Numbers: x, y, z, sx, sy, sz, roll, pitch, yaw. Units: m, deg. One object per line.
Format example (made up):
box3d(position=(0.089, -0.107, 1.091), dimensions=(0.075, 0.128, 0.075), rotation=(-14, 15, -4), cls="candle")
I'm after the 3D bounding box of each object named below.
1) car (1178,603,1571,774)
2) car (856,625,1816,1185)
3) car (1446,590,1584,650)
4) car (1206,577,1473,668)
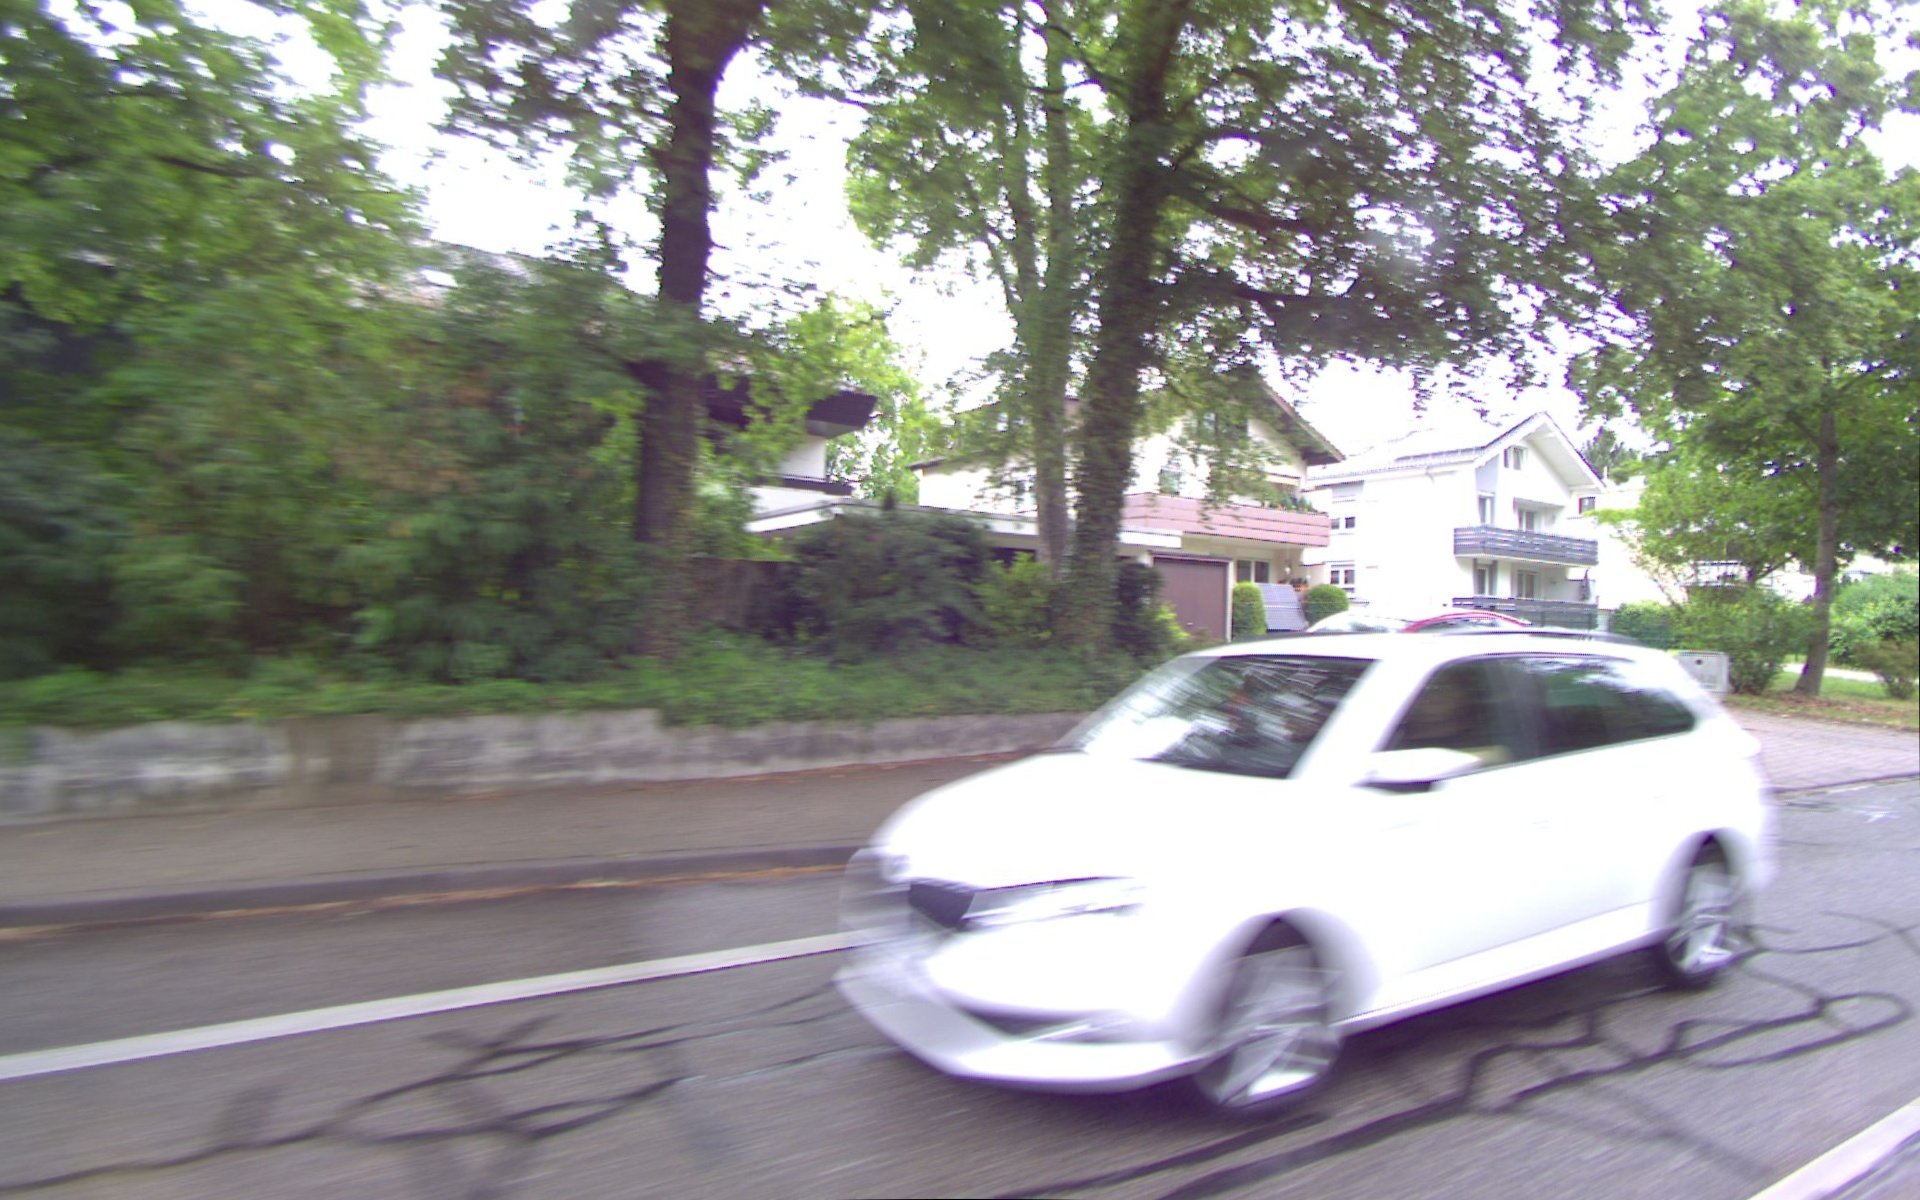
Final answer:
box3d(position=(4.663, 0.848, 11.310), dimensions=(3.948, 1.536, 1.986), rotation=(0, 2, -27), cls="car")
box3d(position=(1.701, 0.853, 4.303), dimensions=(3.959, 1.429, 1.694), rotation=(1, -3, -29), cls="car")
box3d(position=(20.146, 0.754, 36.624), dimensions=(1.979, 2.040, 3.964), rotation=(1, -2, -33), cls="car")
box3d(position=(9.875, 0.490, 26.659), dimensions=(3.441, 2.065, 5.711), rotation=(1, 1, -32), cls="car")
